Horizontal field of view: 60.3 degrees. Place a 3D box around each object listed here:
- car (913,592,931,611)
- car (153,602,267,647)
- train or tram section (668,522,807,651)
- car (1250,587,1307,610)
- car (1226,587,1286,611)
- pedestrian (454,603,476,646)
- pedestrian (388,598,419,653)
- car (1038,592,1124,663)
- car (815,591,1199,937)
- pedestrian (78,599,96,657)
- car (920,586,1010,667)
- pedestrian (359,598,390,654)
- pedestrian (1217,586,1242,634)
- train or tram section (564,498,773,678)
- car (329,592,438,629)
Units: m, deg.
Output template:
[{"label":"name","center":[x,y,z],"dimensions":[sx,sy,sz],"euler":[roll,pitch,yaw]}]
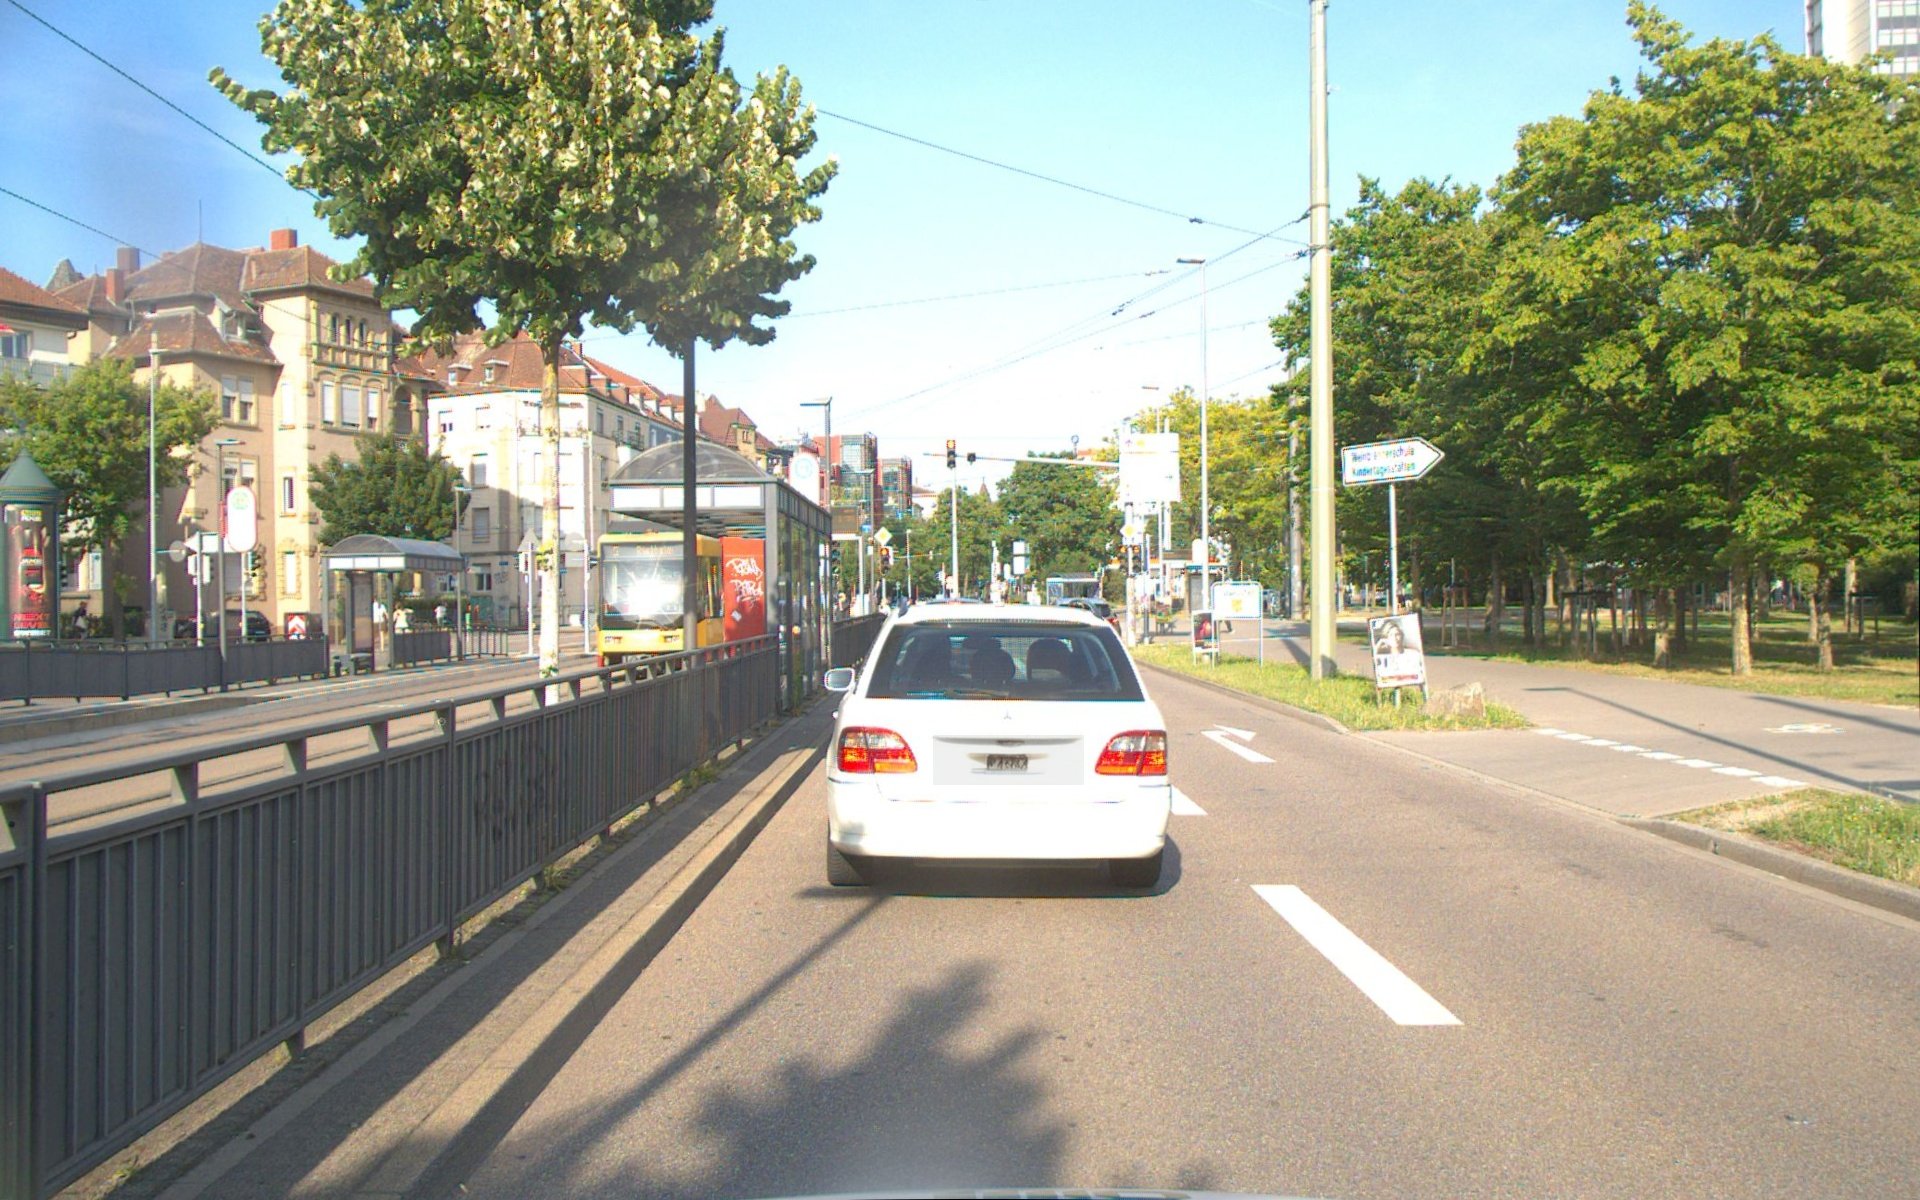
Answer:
[{"label":"car","center":[-4.398,0.161,191.131],"dimensions":[1.953,2.049,3.999],"euler":[-1,0,-1]},{"label":"car","center":[-30.677,0.969,67.652],"dimensions":[3.903,1.780,2.001],"euler":[0,0,17]},{"label":"train or tram section","center":[-6.744,-0.423,52.179],"dimensions":[2.791,3.540,13.197],"euler":[0,0,-1]},{"label":"car","center":[24.688,-0.130,128.141],"dimensions":[3.940,1.680,1.982],"euler":[-1,0,-27]},{"label":"car","center":[21.652,-0.062,120.943],"dimensions":[3.908,1.680,1.999],"euler":[-1,0,25]},{"label":"pedestrian","center":[-20.753,1.016,69.312],"dimensions":[0.651,1.784,0.746],"euler":[0,0,3]},{"label":"pedestrian","center":[-18.274,0.827,54.333],"dimensions":[0.870,1.784,0.744],"euler":[0,0,-11]},{"label":"car","center":[2.939,0.634,40.366],"dimensions":[1.990,1.633,4.002],"euler":[0,0,4]},{"label":"car","center":[0.141,0.737,9.546],"dimensions":[1.723,1.530,3.998],"euler":[-1,0,-2]},{"label":"pedestrian","center":[-31.108,1.007,58.936],"dimensions":[0.374,2.049,0.408],"euler":[0,0,18]},{"label":"car","center":[0.167,0.544,36.920],"dimensions":[1.750,1.719,4.002],"euler":[0,0,4]},{"label":"pedestrian","center":[-19.162,0.843,54.140],"dimensions":[0.870,1.784,0.744],"euler":[0,0,-11]},{"label":"pedestrian","center":[9.586,0.348,58.816],"dimensions":[0.867,1.681,0.746],"euler":[0,0,8]},{"label":"train or tram section","center":[-6.502,-0.307,39.267],"dimensions":[2.791,3.540,13.198],"euler":[0,1,-1]},{"label":"car","center":[-26.533,0.458,76.314],"dimensions":[2.159,1.656,4.716],"euler":[0,0,22]}]
